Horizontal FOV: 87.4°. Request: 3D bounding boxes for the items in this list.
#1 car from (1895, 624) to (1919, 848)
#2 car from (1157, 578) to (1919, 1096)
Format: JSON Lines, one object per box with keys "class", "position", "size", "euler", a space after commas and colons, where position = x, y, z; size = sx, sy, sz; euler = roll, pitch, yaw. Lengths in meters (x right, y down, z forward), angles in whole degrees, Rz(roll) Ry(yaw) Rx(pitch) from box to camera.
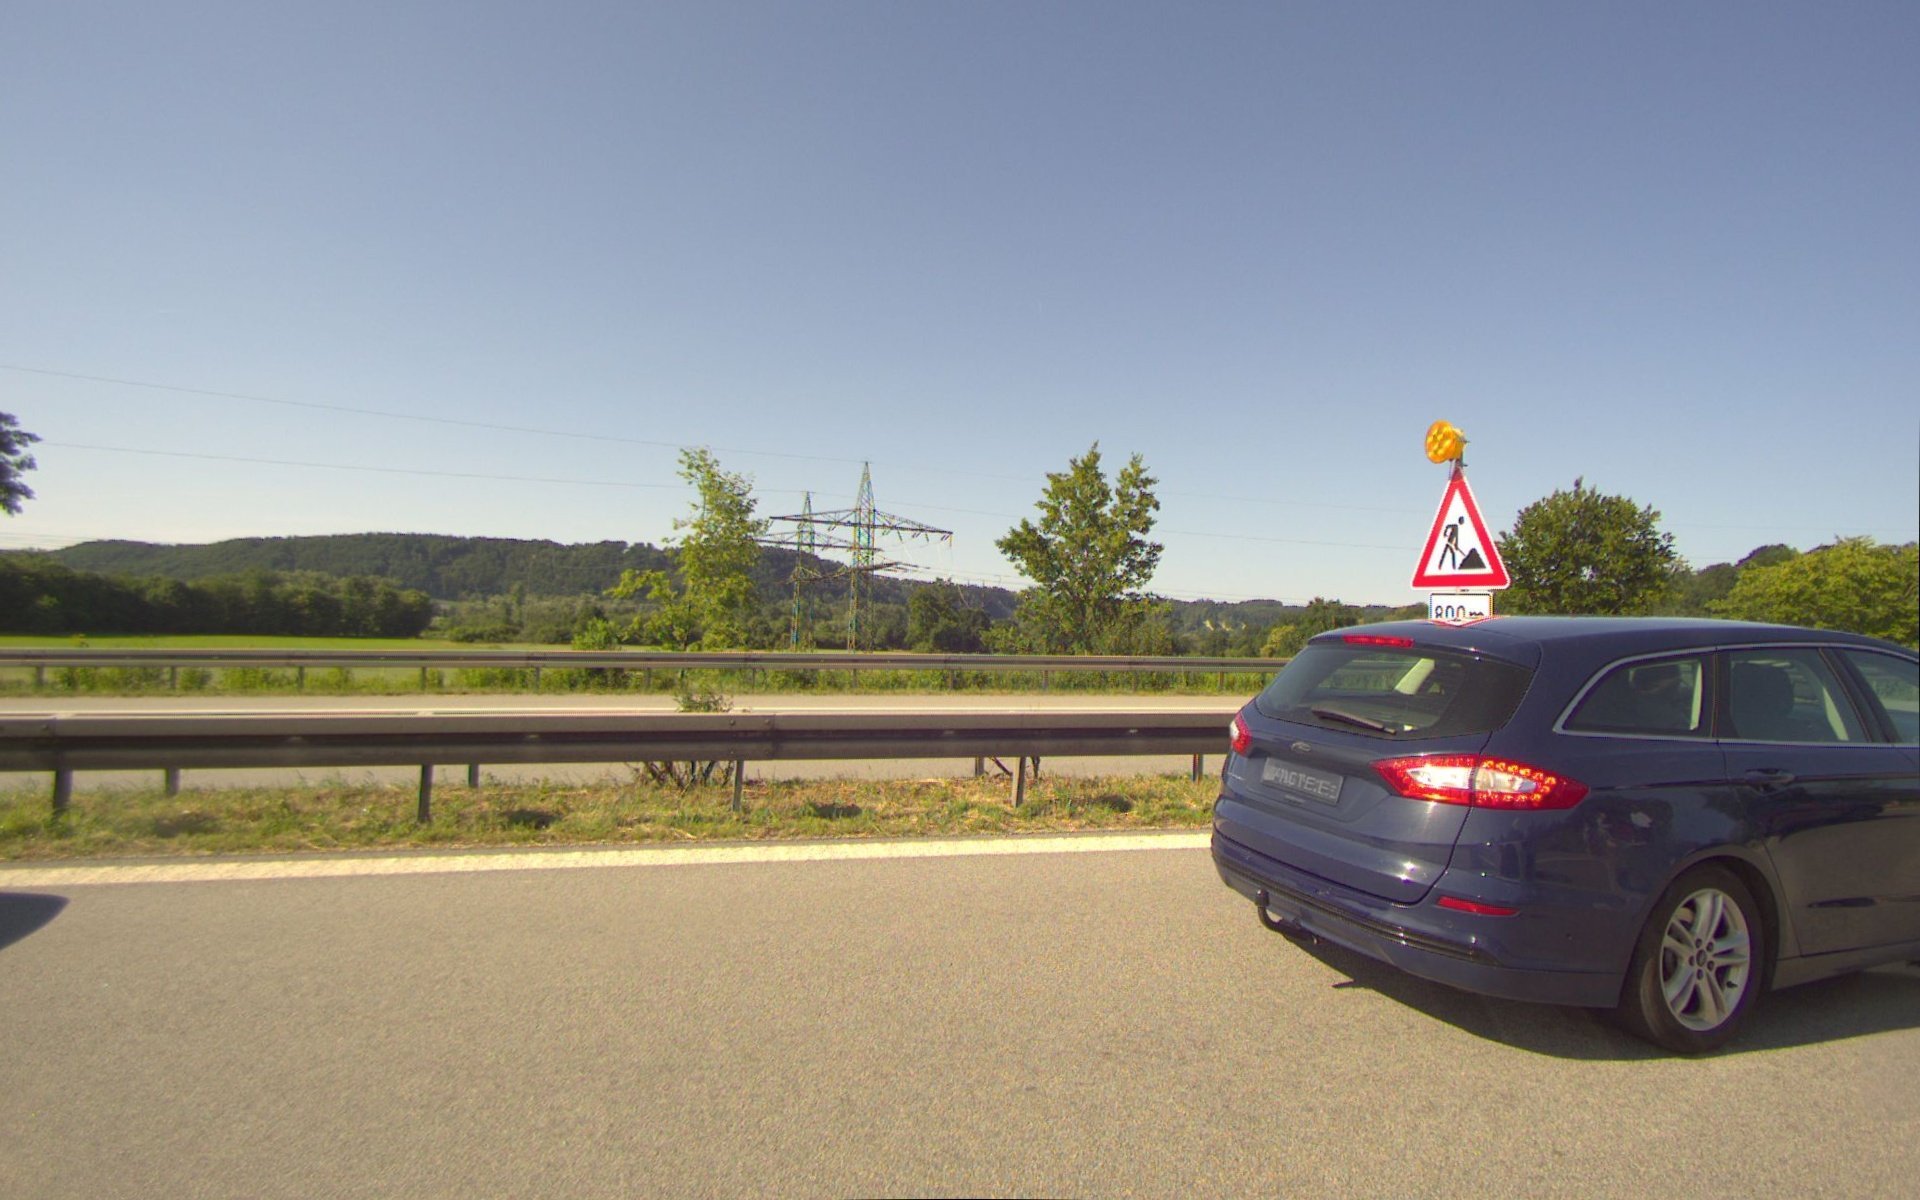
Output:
{"class": "car", "position": [8.426, 0.937, 6.288], "size": [4.137, 1.461, 1.696], "euler": [1, 0, -12]}
{"class": "car", "position": [3.288, 0.754, 4.582], "size": [4.426, 1.513, 1.785], "euler": [1, -1, -21]}
